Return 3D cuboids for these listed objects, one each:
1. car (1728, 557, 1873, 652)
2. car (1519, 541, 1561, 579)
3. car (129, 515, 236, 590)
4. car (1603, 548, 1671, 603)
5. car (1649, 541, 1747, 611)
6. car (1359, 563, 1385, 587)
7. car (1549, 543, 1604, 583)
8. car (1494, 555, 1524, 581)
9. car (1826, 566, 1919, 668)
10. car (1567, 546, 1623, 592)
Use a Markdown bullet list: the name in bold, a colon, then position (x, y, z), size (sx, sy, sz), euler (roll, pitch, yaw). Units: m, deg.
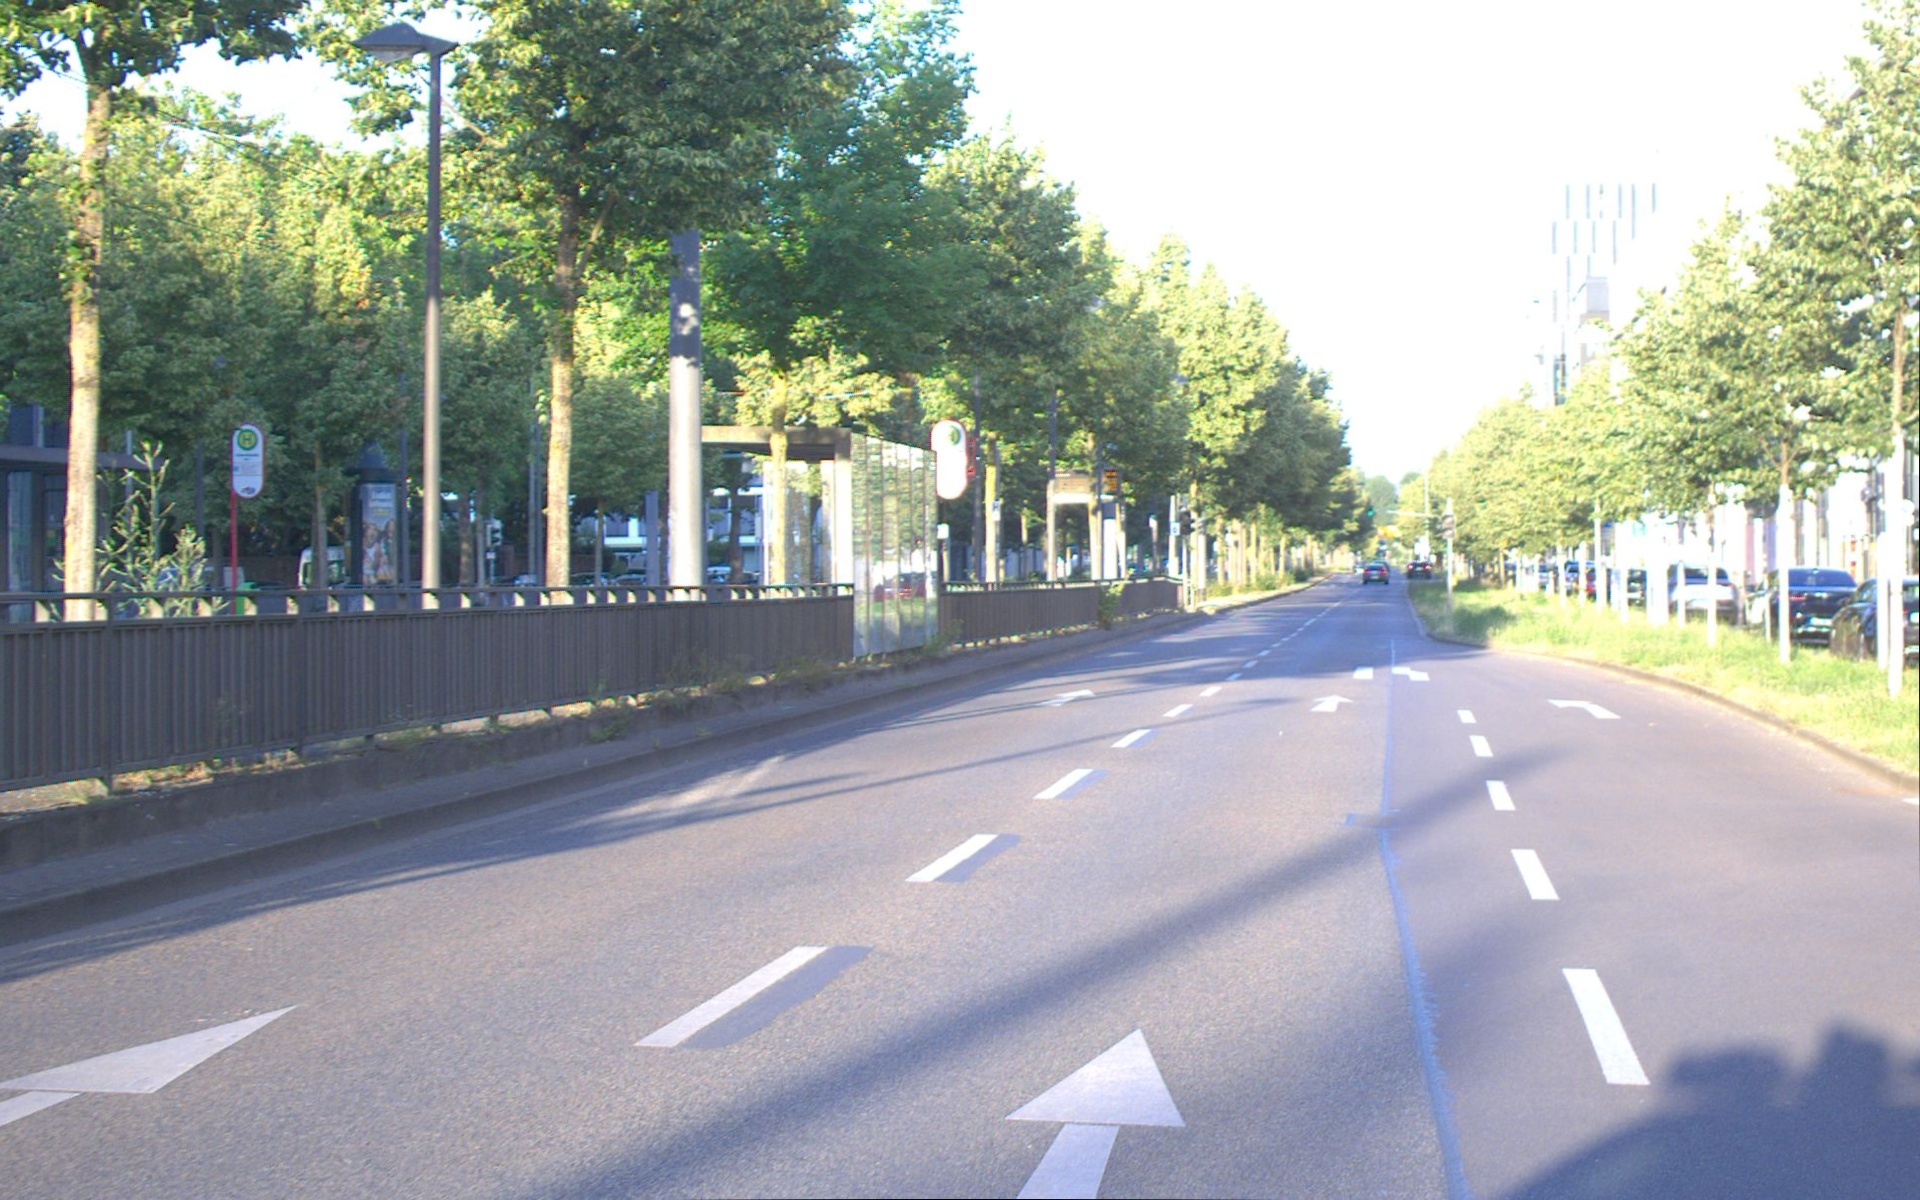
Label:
- **car**: position (16.160, 0.056, 66.312), size (1.994, 1.691, 4.593), euler (2, 1, 5)
- **car**: position (30.779, -2.122, 182.554), size (1.994, 2.007, 3.999), euler (0, 1, 6)
- **car**: position (-22.997, -1.415, 101.783), size (1.775, 2.177, 3.999), euler (0, 1, 8)
- **car**: position (21.986, -0.824, 111.765), size (2.030, 1.691, 4.395), euler (2, 1, 10)
- **car**: position (19.074, -0.639, 88.997), size (1.994, 1.691, 4.414), euler (2, 1, 6)
- **car**: position (28.844, -1.758, 240.855), size (1.696, 1.590, 3.999), euler (-1, 0, 6)
- **car**: position (25.465, -1.532, 142.081), size (1.771, 1.630, 3.562), euler (0, 1, 2)
- **car**: position (35.702, -2.075, 223.756), size (1.696, 1.590, 3.999), euler (-1, 0, 6)
- **car**: position (14.425, 0.242, 52.202), size (1.825, 1.430, 4.459), euler (2, 1, 6)
- **car**: position (24.982, -1.226, 135.290), size (1.895, 1.765, 3.946), euler (0, 1, 6)
